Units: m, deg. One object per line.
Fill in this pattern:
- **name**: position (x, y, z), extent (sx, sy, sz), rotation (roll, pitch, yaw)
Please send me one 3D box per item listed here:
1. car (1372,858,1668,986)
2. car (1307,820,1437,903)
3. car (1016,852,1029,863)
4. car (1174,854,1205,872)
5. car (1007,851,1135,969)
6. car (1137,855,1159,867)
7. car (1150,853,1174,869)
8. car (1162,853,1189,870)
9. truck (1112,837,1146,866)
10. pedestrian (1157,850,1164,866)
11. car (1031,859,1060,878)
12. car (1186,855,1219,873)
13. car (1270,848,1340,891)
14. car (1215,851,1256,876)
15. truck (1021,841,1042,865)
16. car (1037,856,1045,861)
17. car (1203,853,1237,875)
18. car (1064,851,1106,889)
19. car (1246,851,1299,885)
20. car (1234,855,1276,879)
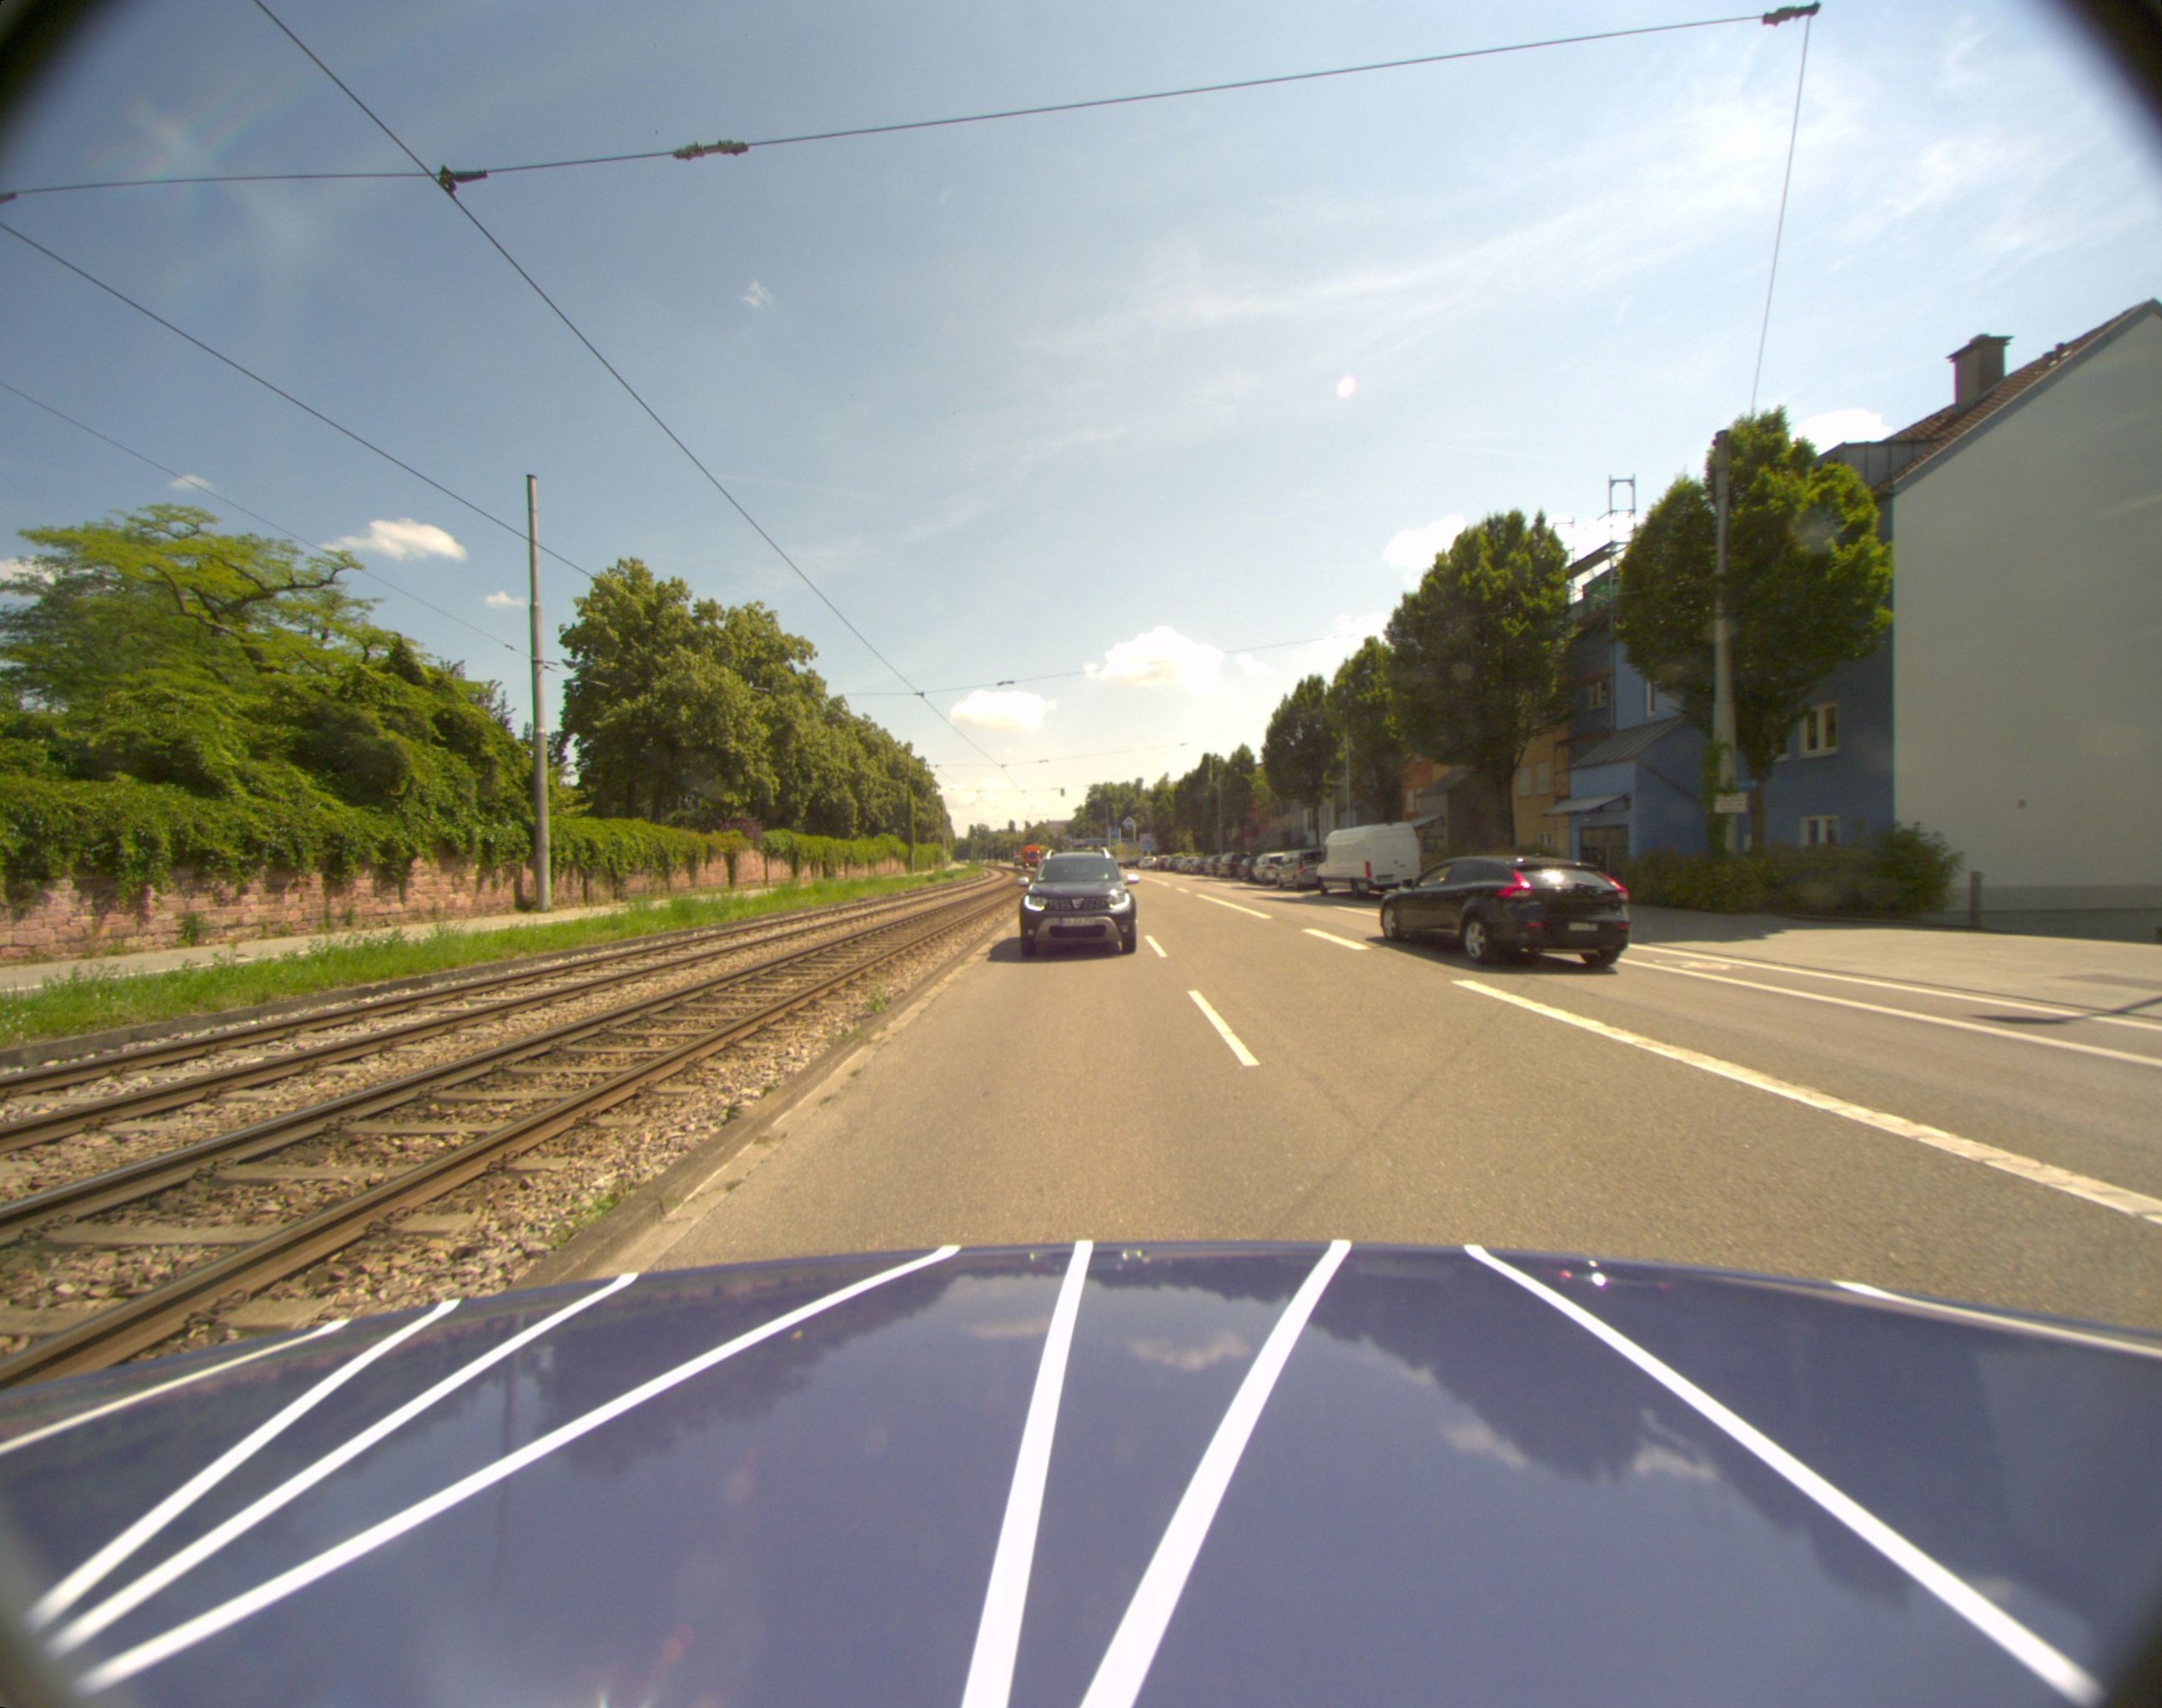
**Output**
- **car**: position (5.904, 0.807, 10.923), extent (1.779, 1.451, 4.194), rotation (0, 0, -1)
- **car**: position (11.000, 0.256, 29.491), extent (2.329, 2.635, 7.035), rotation (-5, 0, 2)
- **car**: position (-11.556, 0.724, 150.169), extent (2.000, 2.002, 3.996), rotation (-2, 1, -9)
- **car**: position (10.137, 0.782, 71.193), extent (1.660, 1.499, 4.893), rotation (-4, 1, -5)
- **car**: position (-0.005, 0.817, 13.444), extent (1.801, 1.652, 4.789), rotation (-3, 0, 3)
- **car**: position (7.991, 0.875, 90.839), extent (1.661, 1.402, 4.394), rotation (-1, 0, -8)
- **car**: position (8.755, 0.744, 82.360), extent (1.661, 1.600, 4.171), rotation (-1, 0, -8)
- **car**: position (9.489, 0.753, 76.736), extent (1.660, 1.600, 4.685), rotation (-3, 0, -5)
- **truck**: position (6.390, -0.282, 102.758), extent (2.840, 3.527, 8.165), rotation (-3, 0, -8)
- **pedestrian**: position (9.873, 0.510, 94.254), extent (0.642, 1.911, 0.710), rotation (-1, 0, 35)
- **car**: position (-2.706, 1.077, 57.731), extent (1.999, 1.346, 3.998), rotation (1, 0, -5)
- **car**: position (10.390, 0.826, 65.241), extent (1.746, 1.438, 4.962), rotation (-3, 0, -4)
- **car**: position (10.987, 0.704, 37.693), extent (1.811, 1.884, 5.362), rotation (-4, 0, 1)
- **car**: position (10.870, 0.644, 53.803), extent (1.756, 1.706, 4.887), rotation (-1, 0, -2)
- **truck**: position (-7.880, -0.218, 120.513), extent (2.847, 3.574, 8.699), rotation (-2, 0, -7)
- **car**: position (-11.659, 1.368, 220.514), extent (2.000, 1.379, 3.998), rotation (-1, 0, -7)
- **car**: position (10.758, 0.713, 59.104), extent (1.660, 1.608, 4.284), rotation (0, 1, -2)
- **car**: position (0.130, 0.707, 35.530), extent (1.802, 1.683, 4.143), rotation (-1, 0, -2)
- **car**: position (10.853, 0.754, 43.358), extent (1.721, 1.742, 4.903), rotation (-2, 0, 0)
- **car**: position (11.012, 0.788, 48.317), extent (1.603, 1.462, 4.086), rotation (-1, 0, -2)
